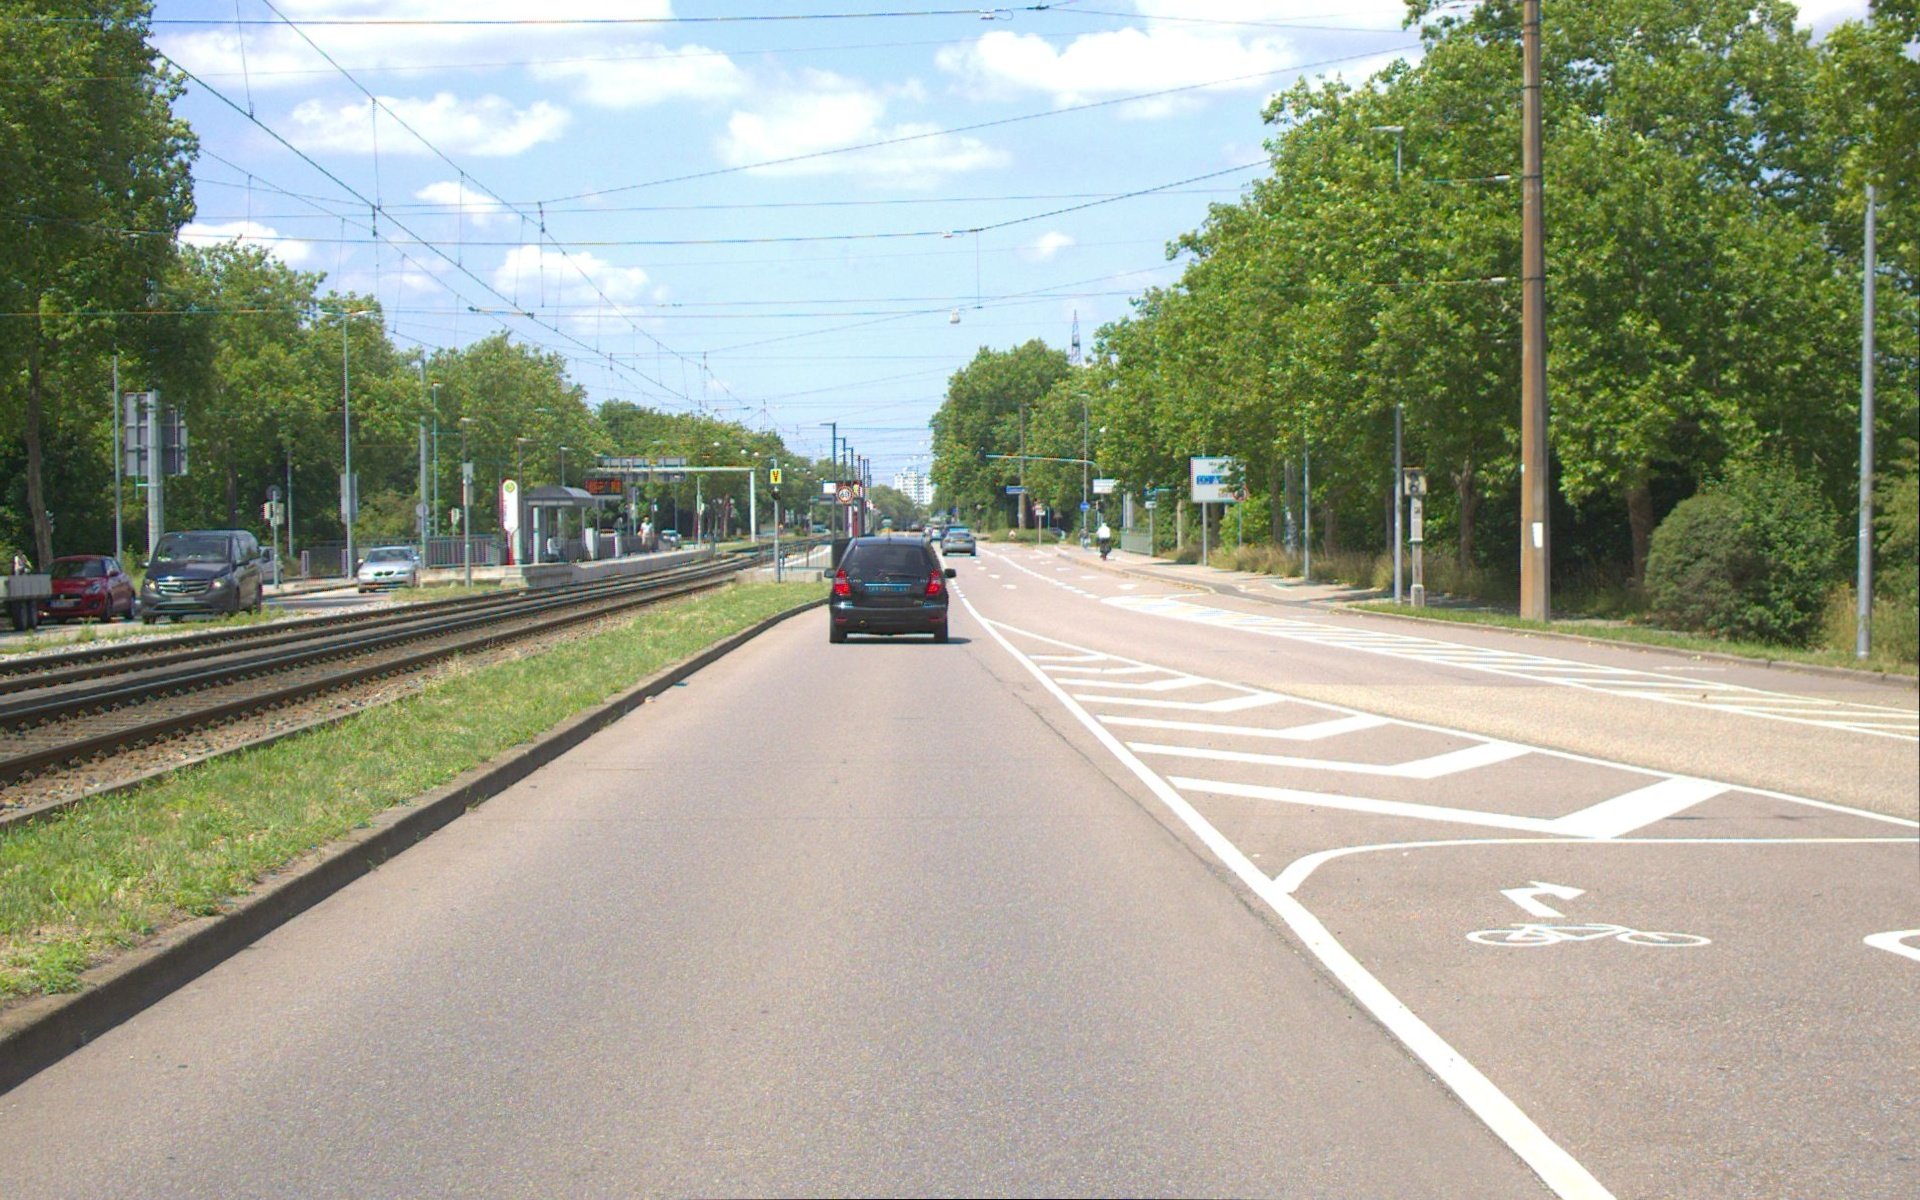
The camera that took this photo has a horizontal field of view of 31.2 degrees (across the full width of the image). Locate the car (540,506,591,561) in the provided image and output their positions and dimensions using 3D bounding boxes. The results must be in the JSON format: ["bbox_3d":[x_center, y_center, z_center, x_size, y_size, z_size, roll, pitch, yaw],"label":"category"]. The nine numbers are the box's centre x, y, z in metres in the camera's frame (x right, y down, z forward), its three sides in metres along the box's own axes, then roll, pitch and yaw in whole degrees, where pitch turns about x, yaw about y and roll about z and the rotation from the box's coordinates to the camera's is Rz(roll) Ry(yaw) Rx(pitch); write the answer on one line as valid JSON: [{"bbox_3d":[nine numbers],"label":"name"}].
[{"bbox_3d":[-15.105,-2.571,131.735,1.585,2.006,4.111,1,2,-2],"label":"car"}]

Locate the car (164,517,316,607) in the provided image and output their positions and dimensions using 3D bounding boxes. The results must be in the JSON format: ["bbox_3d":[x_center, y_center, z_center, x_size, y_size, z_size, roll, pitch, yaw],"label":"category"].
[{"bbox_3d":[-14.879,-0.817,71.328,2.117,1.784,5.406,0,1,-1],"label":"car"}]

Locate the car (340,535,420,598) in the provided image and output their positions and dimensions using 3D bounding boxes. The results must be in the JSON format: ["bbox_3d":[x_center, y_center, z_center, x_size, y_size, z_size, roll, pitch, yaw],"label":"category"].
[{"bbox_3d":[-18.765,-1.098,111.392,1.993,2.007,4.000,0,1,-1],"label":"car"}]

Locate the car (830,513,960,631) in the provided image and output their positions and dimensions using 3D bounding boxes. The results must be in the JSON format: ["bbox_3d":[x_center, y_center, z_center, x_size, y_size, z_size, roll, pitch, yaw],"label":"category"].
[{"bbox_3d":[-0.940,-0.453,51.908,1.853,1.564,4.389,1,3,0],"label":"car"}]

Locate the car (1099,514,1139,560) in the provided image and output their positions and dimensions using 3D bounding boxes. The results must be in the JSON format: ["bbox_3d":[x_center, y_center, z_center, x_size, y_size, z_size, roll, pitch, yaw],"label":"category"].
[{"bbox_3d":[7.391,-2.953,160.101,1.612,2.006,3.440,1,2,-1],"label":"car"}]

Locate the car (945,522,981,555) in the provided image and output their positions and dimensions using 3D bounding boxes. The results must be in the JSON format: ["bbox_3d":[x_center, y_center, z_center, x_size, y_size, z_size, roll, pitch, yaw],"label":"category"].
[{"bbox_3d":[0.168,-3.417,190.407,1.885,1.634,4.001,3,2,0],"label":"car"}]

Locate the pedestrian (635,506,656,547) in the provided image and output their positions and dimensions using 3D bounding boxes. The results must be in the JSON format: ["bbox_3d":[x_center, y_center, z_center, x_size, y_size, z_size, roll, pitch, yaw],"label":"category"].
[{"bbox_3d":[-15.614,-3.638,170.744,0.952,2.006,0.892,1,2,-1],"label":"pedestrian"}]

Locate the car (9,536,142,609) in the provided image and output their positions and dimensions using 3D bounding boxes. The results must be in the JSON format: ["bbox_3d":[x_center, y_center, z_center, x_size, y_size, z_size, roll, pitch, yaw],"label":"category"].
[{"bbox_3d":[-19.659,-0.639,76.552,1.993,1.568,4.000,0,1,-1],"label":"car"}]

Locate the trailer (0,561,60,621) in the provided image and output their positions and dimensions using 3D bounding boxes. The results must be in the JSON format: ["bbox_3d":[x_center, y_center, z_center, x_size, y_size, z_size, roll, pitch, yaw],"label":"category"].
[{"bbox_3d":[-19.164,-0.207,67.381,1.892,1.040,5.104,1,1,-2],"label":"trailer"}]
